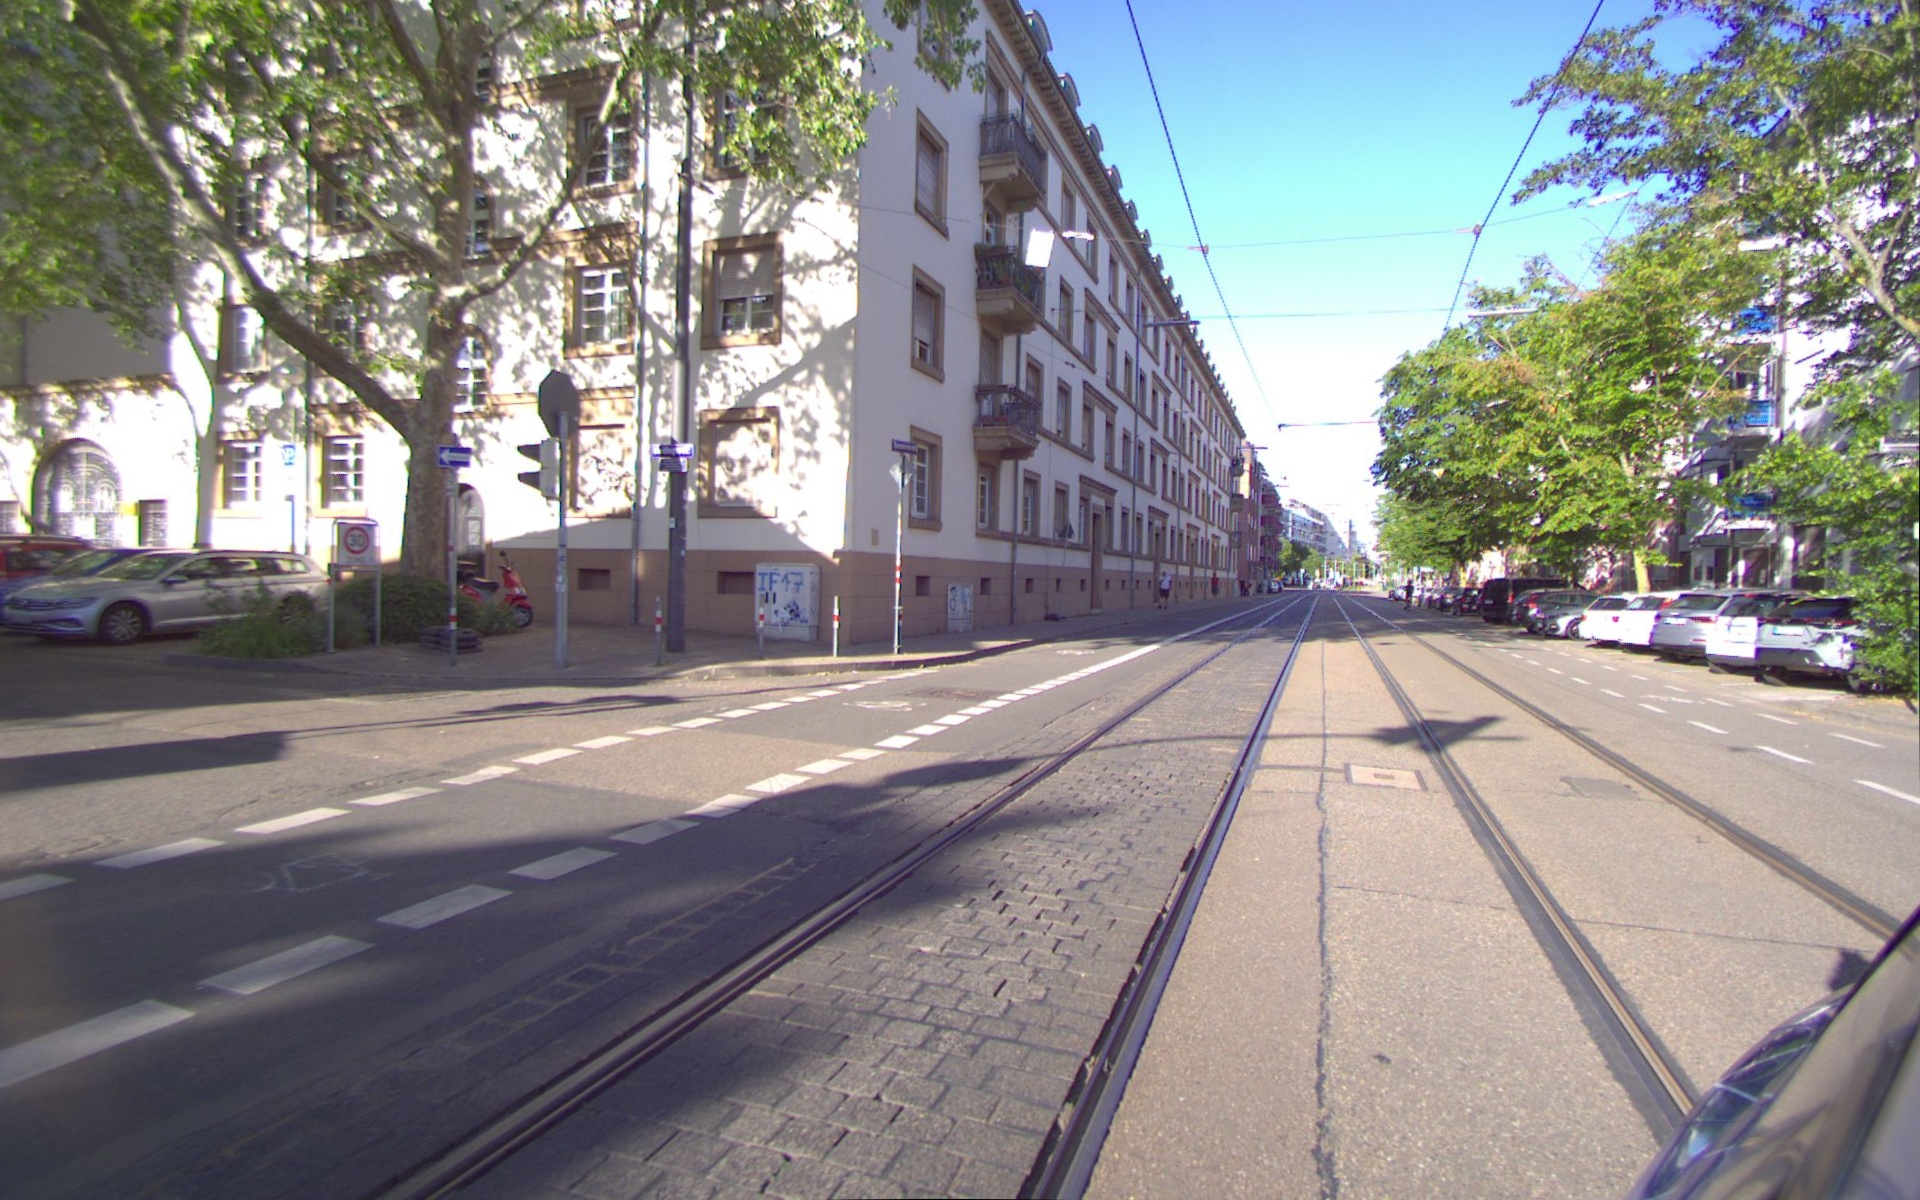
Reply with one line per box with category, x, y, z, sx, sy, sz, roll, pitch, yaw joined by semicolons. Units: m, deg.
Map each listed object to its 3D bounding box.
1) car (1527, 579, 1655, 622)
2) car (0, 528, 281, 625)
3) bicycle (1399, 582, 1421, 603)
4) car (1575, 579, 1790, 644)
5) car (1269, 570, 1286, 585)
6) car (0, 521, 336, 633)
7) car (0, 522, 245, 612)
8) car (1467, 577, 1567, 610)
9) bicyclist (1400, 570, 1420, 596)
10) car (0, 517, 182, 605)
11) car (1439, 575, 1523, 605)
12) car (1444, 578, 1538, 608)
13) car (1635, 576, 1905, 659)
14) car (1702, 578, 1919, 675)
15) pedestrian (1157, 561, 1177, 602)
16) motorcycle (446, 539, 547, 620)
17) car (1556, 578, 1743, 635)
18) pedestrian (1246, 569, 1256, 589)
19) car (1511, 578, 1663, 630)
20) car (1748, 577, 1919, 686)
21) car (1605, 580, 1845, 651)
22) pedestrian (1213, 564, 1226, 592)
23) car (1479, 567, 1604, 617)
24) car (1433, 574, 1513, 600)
car;23.761;-0.009;38.126;4.050;1.506;1.624;-1;2;-11
car;-15.056;-0.451;18.353;1.707;1.519;4.448;2;2;19
bicycle;26.556;-0.456;59.778;0.891;1.179;3.227;2;2;20
car;17.992;0.260;25.370;4.064;1.506;1.618;0;2;7
car;40.175;-2.845;128.109;1.865;1.705;4.368;2;1;17
car;-13.029;-0.405;16.840;1.707;1.590;4.448;2;2;19
car;-16.940;-0.661;19.986;1.707;1.590;4.448;2;2;19
car;27.392;-0.326;49.886;4.085;1.506;1.610;1;2;21
bicyclist;26.586;-0.997;59.805;0.891;1.471;1.255;2;2;20
car;-18.861;-0.806;20.726;1.707;1.691;4.448;2;2;19
car;30.575;-0.591;59.465;4.063;1.682;1.618;0;2;6
car;28.272;-0.374;53.954;4.063;1.506;1.618;0;2;6
car;16.265;0.329;20.476;4.059;1.574;1.620;0;2;2
car;15.920;0.422;18.355;4.050;1.574;1.624;-1;2;-11
pedestrian;9.719;-0.861;47.497;0.729;1.860;0.692;3;2;19
motorcycle;-8.233;-0.373;17.961;1.741;1.349;0.512;3;2;19
car;19.719;0.150;29.127;4.077;1.506;1.613;1;2;16
pedestrian;27.026;-1.948;93.927;0.729;1.860;0.692;3;2;19
car;19.836;0.093;32.058;4.050;1.506;1.624;-1;2;-11
car;14.972;0.446;15.840;4.054;1.574;1.622;0;2;-3
car;17.436;0.308;23.226;4.065;1.506;1.617;0;2;8
pedestrian;17.840;-1.497;69.621;0.729;1.860;0.692;3;2;19
car;23.195;-0.346;40.428;4.050;1.910;1.893;-1;2;-12
car;31.671;-0.817;62.565;4.063;1.506;1.618;0;2;6
